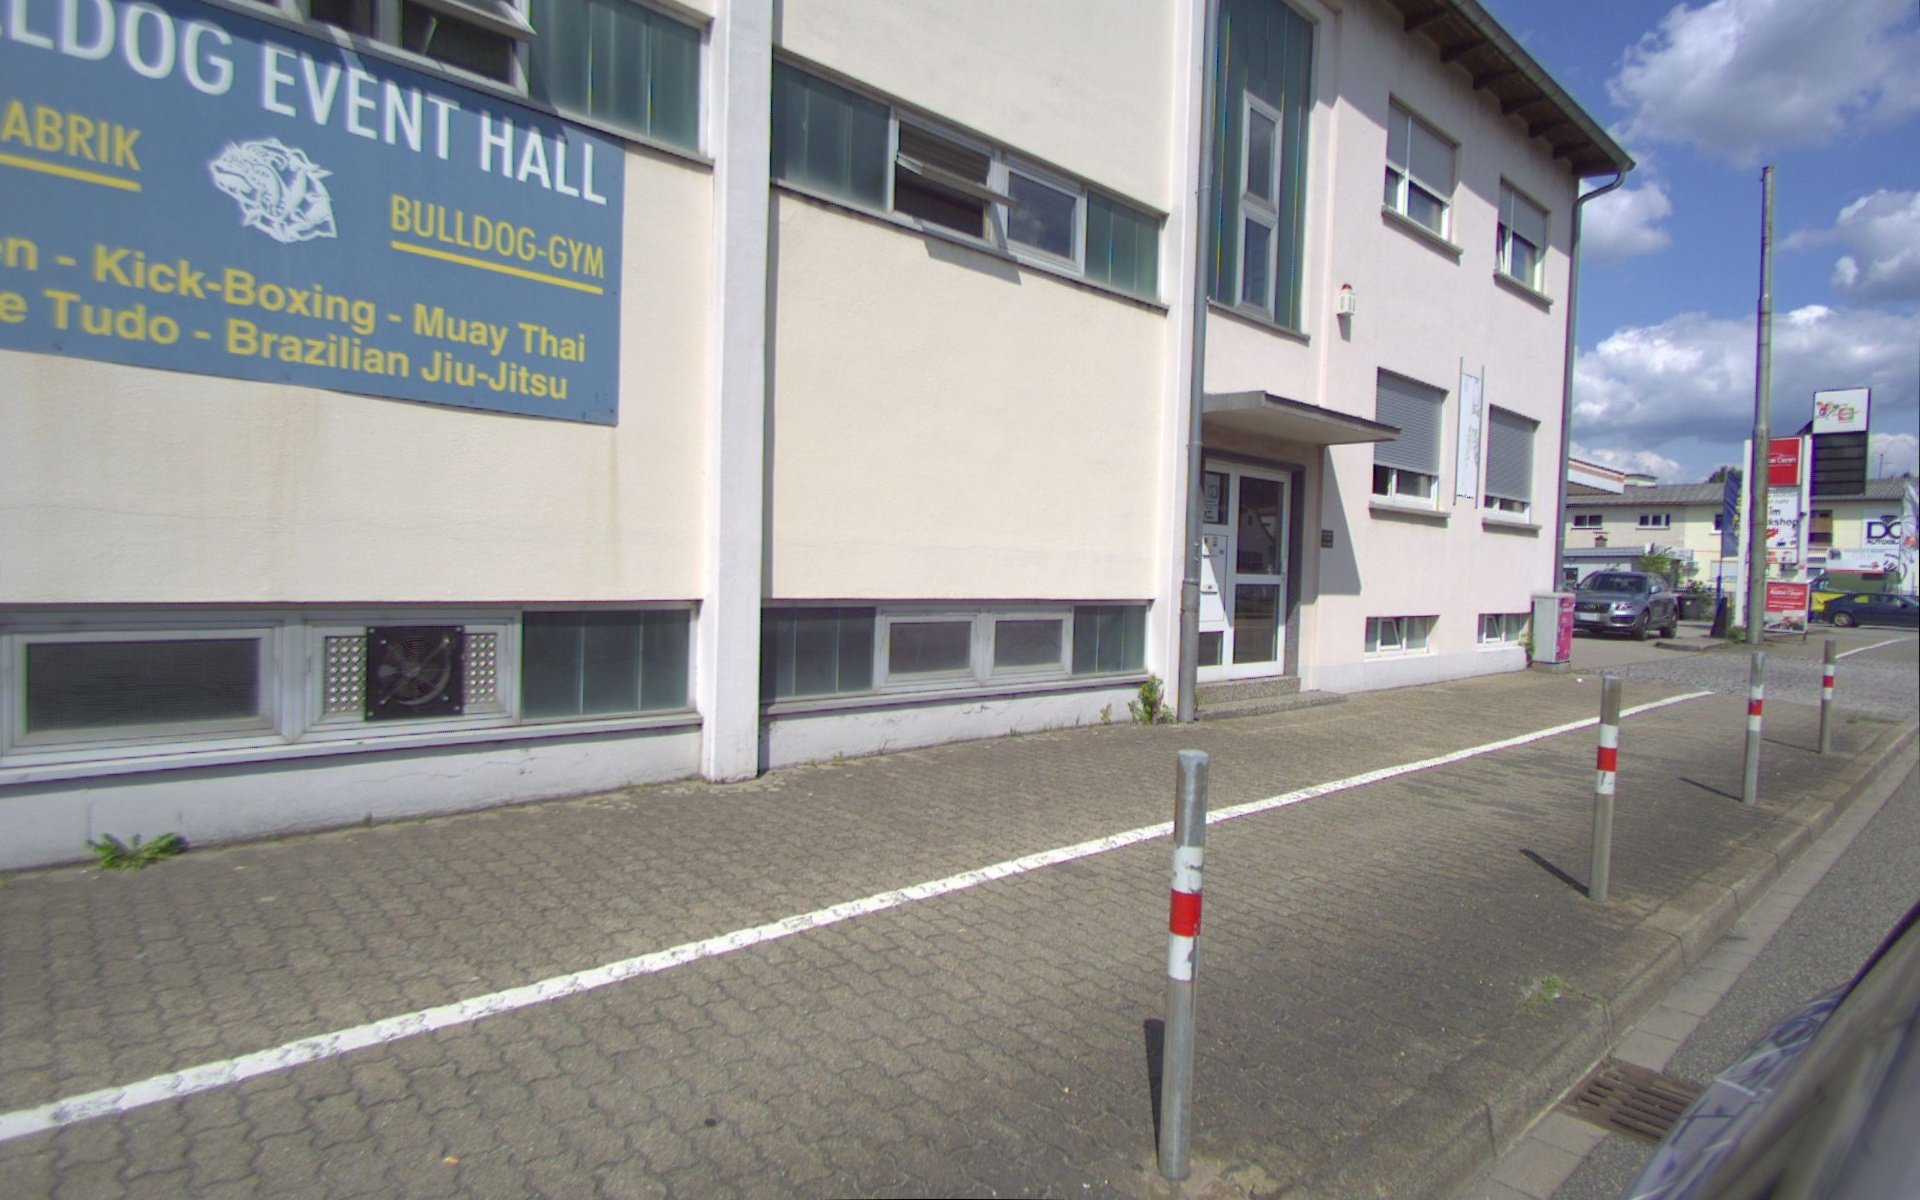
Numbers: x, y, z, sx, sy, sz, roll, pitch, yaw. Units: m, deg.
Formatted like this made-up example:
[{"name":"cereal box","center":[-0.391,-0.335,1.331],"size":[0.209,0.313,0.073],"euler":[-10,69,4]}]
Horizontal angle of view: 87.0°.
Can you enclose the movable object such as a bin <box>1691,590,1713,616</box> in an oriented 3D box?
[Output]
[{"name":"movable object such as a bin","center":[29.855,0.100,40.704],"size":[0.695,1.023,0.581],"euler":[-1,1,-43]}]

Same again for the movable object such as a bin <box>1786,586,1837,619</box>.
[{"name":"movable object such as a bin","center":[37.841,0.084,44.956],"size":[1.735,1.427,1.534],"euler":[-1,1,-42]}]

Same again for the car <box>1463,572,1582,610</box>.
[{"name":"car","center":[24.387,-0.439,43.966],"size":[1.740,1.441,4.145],"euler":[-1,4,-40]}]

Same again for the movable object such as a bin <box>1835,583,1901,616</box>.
[{"name":"movable object such as a bin","center":[39.294,-0.057,43.804],"size":[1.679,1.364,1.965],"euler":[-1,1,-42]}]

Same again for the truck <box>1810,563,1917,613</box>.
[{"name":"truck","center":[50.310,-0.680,56.402],"size":[2.071,2.693,4.179],"euler":[-1,1,-40]}]

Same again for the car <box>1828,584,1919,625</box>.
[{"name":"car","center":[35.548,0.182,38.079],"size":[1.616,1.425,4.067],"euler":[-1,3,-35]}]

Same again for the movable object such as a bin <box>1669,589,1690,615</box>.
[{"name":"movable object such as a bin","center":[29.336,0.088,41.258],"size":[0.695,1.023,0.581],"euler":[-1,1,-43]}]

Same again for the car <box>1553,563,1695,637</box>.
[{"name":"car","center":[16.667,-0.052,25.315],"size":[4.539,1.645,1.948],"euler":[-1,3,-44]}]
